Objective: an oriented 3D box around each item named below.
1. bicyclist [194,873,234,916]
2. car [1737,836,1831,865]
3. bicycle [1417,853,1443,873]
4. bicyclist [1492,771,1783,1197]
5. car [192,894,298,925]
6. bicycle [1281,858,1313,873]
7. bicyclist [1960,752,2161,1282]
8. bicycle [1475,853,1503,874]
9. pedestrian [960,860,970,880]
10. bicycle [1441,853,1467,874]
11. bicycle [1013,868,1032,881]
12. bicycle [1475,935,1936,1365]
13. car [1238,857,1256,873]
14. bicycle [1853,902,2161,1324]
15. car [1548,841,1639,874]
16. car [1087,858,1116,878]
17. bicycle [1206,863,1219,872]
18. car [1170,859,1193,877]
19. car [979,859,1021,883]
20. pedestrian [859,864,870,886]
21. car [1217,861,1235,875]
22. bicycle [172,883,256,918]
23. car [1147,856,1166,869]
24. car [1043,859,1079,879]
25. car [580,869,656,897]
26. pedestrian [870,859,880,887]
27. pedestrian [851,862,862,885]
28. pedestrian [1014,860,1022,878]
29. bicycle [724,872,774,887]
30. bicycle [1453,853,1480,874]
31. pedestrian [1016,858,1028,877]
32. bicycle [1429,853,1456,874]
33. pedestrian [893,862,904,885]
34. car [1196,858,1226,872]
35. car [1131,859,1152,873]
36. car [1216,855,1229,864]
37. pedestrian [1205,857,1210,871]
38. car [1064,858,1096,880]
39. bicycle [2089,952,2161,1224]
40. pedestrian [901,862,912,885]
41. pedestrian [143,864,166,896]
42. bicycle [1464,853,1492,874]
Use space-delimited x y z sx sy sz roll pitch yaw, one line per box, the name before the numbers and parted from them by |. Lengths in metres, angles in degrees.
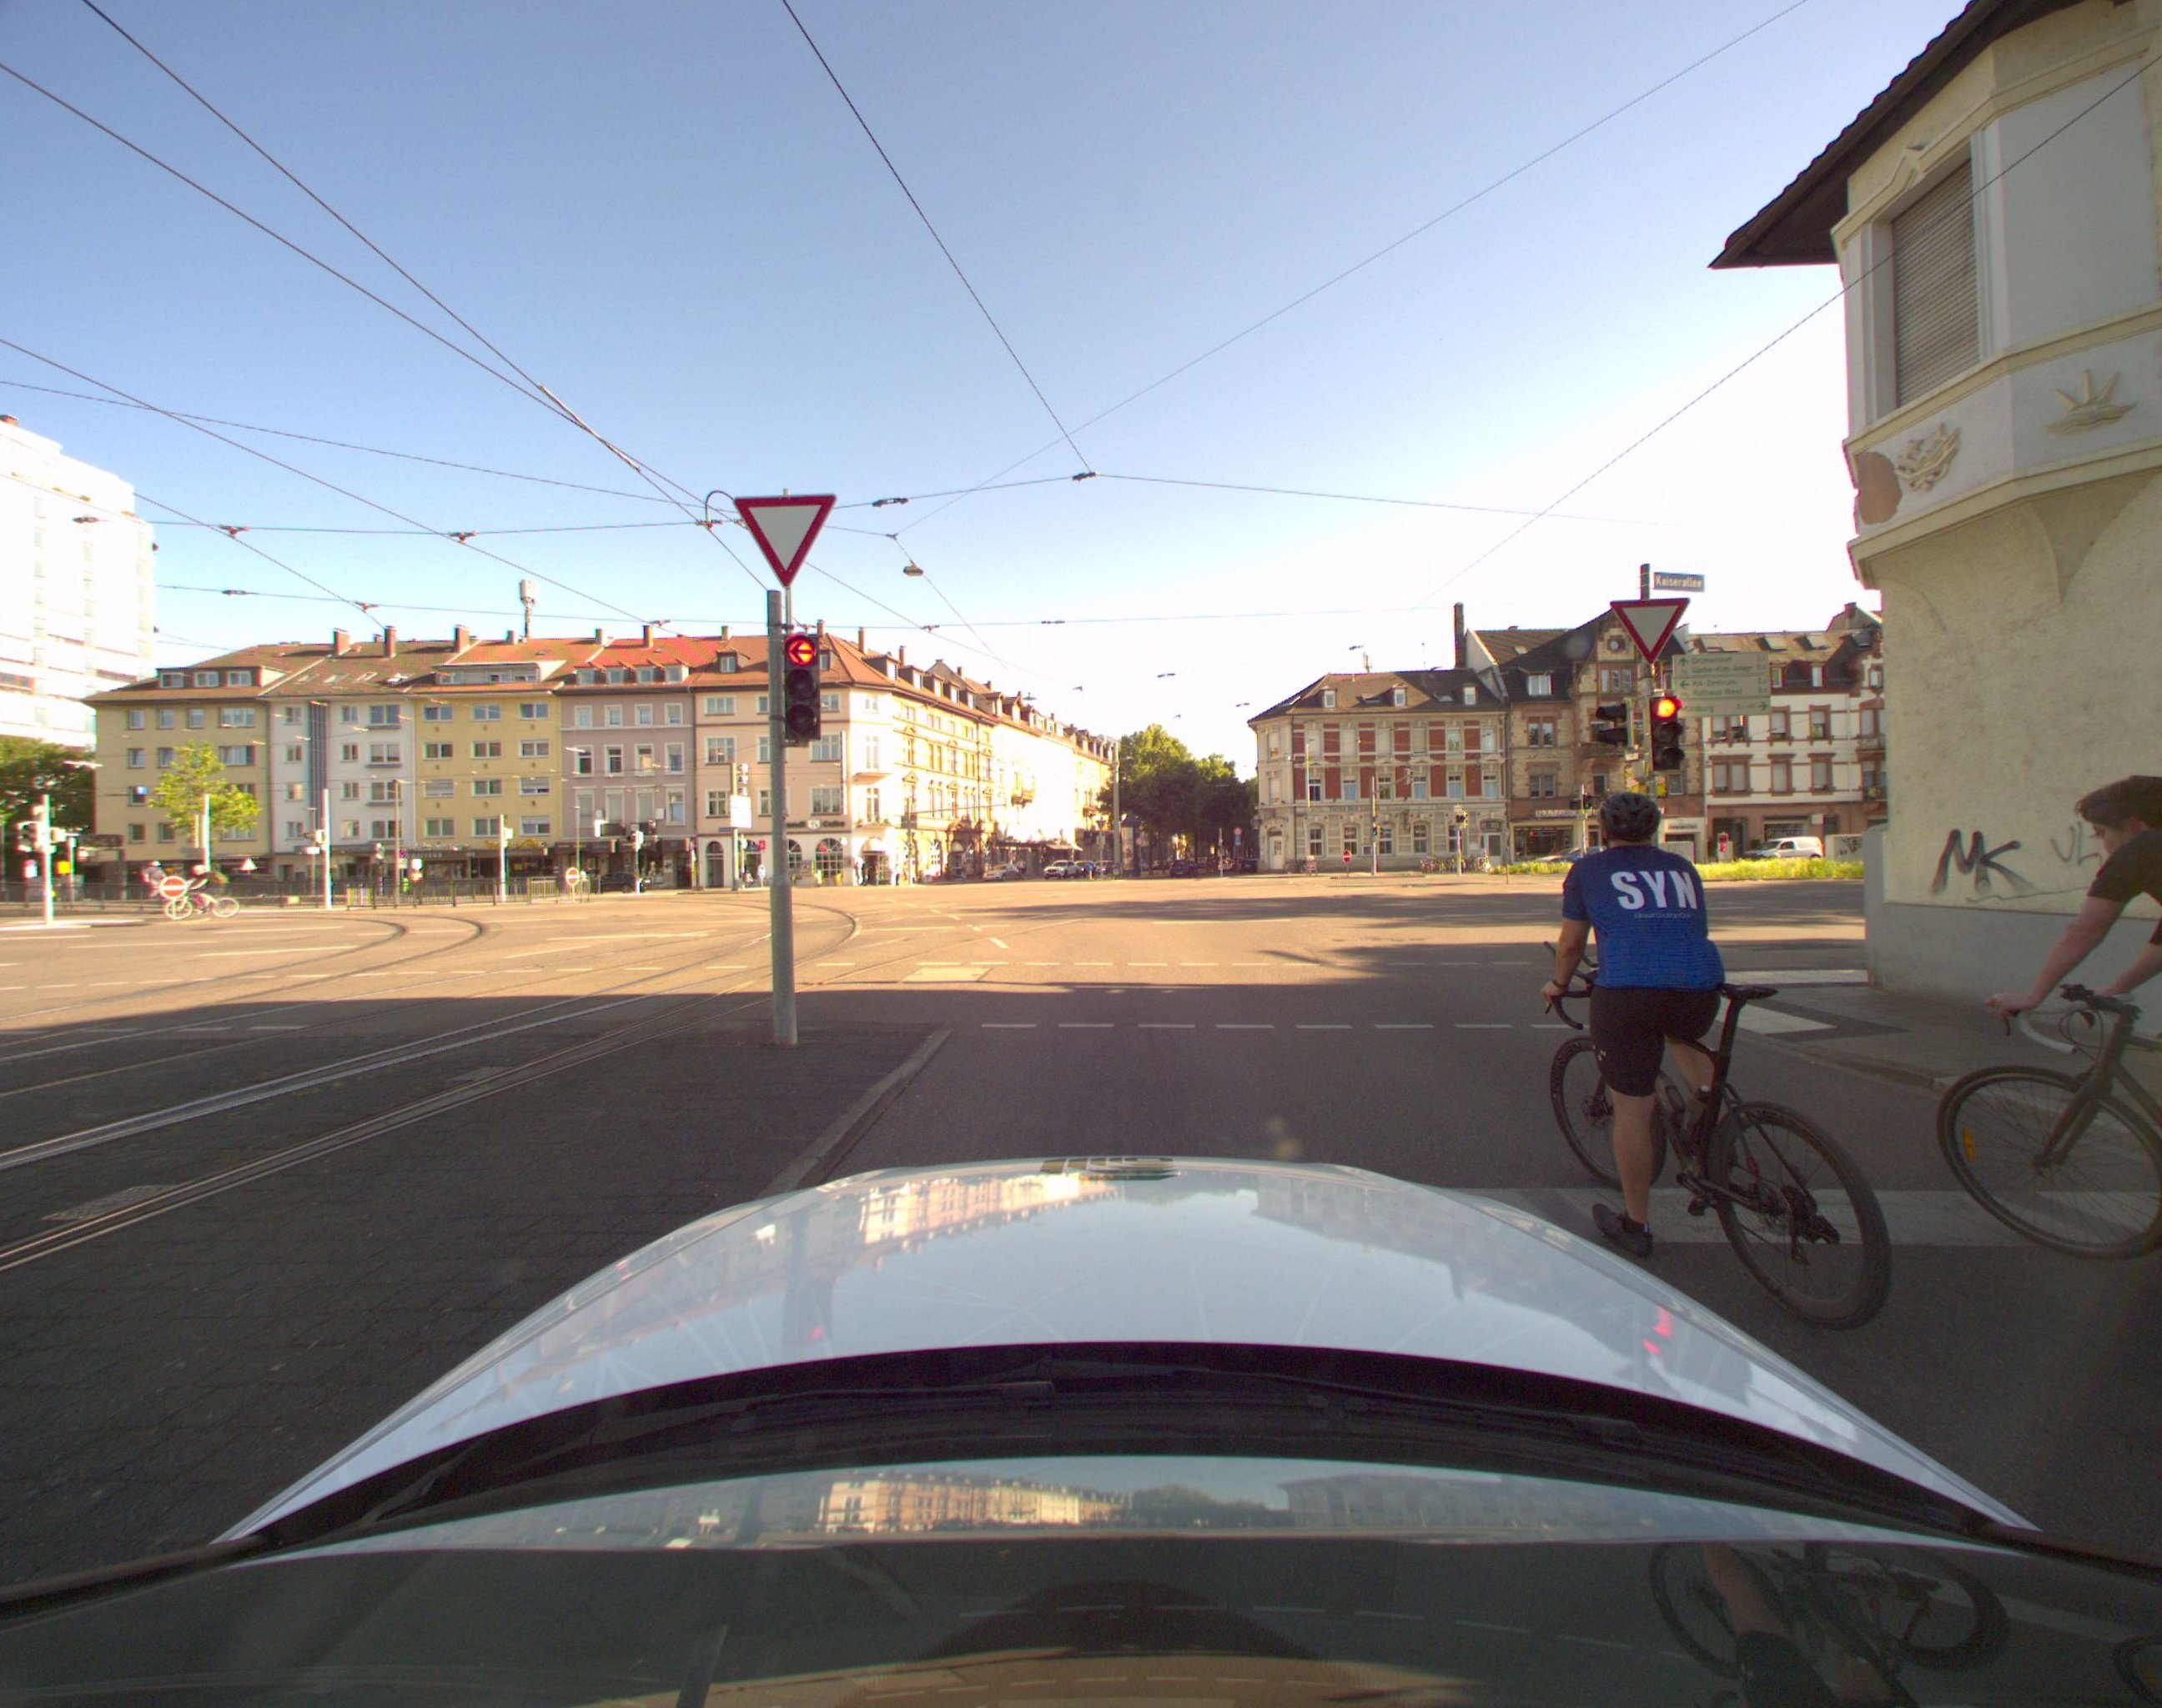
bicyclist | -28.309 1.306 26.586 0.553 1.366 0.808 -1 -1 33
car | 45.314 -0.226 52.564 4.349 1.778 2.000 0 -1 1
bicycle | 22.485 0.573 52.491 0.689 1.287 2.663 0 -1 3
bicyclist | 2.181 0.449 3.316 0.635 1.494 0.885 0 1 6
car | -47.291 3.103 46.119 4.146 1.618 1.956 0 -1 4
bicycle | 15.084 0.806 56.888 2.040 0.998 0.631 -1 -1 4
bicyclist | 3.676 0.494 2.582 0.803 1.606 0.883 0 -1 0
bicycle | 26.200 0.611 52.351 0.626 1.287 2.663 0 -1 3
pedestrian | -9.667 1.330 67.843 0.539 1.631 0.709 -1 -1 15
bicycle | 23.987 0.593 52.412 0.626 1.287 2.663 0 -1 3
bicycle | -4.728 1.631 65.556 0.756 1.008 2.406 -1 -1 16
bicycle | 2.232 0.946 3.235 0.623 1.085 1.705 0 -1 5
car | 16.823 1.129 82.359 1.680 1.565 3.855 -1 -1 14
bicycle | 3.691 0.821 2.642 0.752 1.236 1.702 0 -1 0
car | 28.344 0.210 45.136 3.769 1.778 2.000 0 -1 1
car | 2.057 1.399 79.862 1.979 1.904 4.015 -1 -1 14
bicycle | 16.000 1.646 98.861 0.630 1.085 1.687 0 -1 -28
car | 8.166 1.121 66.415 1.745 1.362 3.863 0 -1 6
car | -6.666 1.363 67.446 1.977 1.904 4.019 -1 -1 19
pedestrian | -14.793 1.449 55.635 0.631 1.477 0.465 0 -1 -2
car | 16.245 1.588 91.294 1.761 1.530 4.009 0 -1 8
bicycle | -28.320 1.499 26.636 0.567 1.070 1.806 -1 -1 32
car | 11.369 1.326 122.487 1.977 1.904 4.019 -1 -1 19
car | -1.620 1.196 67.612 1.979 1.618 4.015 -1 -1 14
car | -30.586 1.912 53.817 3.962 1.670 2.006 -2 0 10
pedestrian | -14.345 1.316 56.731 0.631 1.881 0.465 0 -1 -2
pedestrian | -15.567 1.348 56.546 0.631 1.612 0.465 0 -1 -2
pedestrian | -5.993 1.439 77.889 0.539 1.631 0.709 -1 -1 15
bicycle | -23.422 1.784 57.465 3.118 0.980 1.002 0 -1 1
bicycle | 24.777 0.623 52.384 0.626 1.287 2.663 0 -1 3
pedestrian | -4.756 1.102 65.488 0.814 1.512 0.601 -1 -1 16
bicycle | 23.264 0.603 52.419 0.689 1.287 2.663 0 -1 3
pedestrian | -12.634 1.344 56.365 0.631 1.634 0.700 0 -1 -2
car | 18.346 1.559 114.721 3.955 1.904 2.009 -1 -1 17
car | 8.404 1.615 112.690 1.977 1.904 4.019 -1 -1 19
car | 23.285 0.912 134.316 1.546 1.513 3.673 -1 -1 19
pedestrian | 16.793 1.358 108.224 0.635 1.796 0.492 -1 -1 14
car | -0.027 1.366 73.887 1.979 1.904 4.015 -1 -1 14
bicycle | 4.487 0.915 2.493 0.647 1.031 1.772 0 -1 3
pedestrian | -12.380 1.382 57.664 0.631 1.634 0.700 0 -1 -2
pedestrian | -47.534 1.344 41.778 0.523 1.628 0.577 0 -1 0
bicycle | 25.505 0.612 52.380 0.626 1.287 2.663 0 -1 3
